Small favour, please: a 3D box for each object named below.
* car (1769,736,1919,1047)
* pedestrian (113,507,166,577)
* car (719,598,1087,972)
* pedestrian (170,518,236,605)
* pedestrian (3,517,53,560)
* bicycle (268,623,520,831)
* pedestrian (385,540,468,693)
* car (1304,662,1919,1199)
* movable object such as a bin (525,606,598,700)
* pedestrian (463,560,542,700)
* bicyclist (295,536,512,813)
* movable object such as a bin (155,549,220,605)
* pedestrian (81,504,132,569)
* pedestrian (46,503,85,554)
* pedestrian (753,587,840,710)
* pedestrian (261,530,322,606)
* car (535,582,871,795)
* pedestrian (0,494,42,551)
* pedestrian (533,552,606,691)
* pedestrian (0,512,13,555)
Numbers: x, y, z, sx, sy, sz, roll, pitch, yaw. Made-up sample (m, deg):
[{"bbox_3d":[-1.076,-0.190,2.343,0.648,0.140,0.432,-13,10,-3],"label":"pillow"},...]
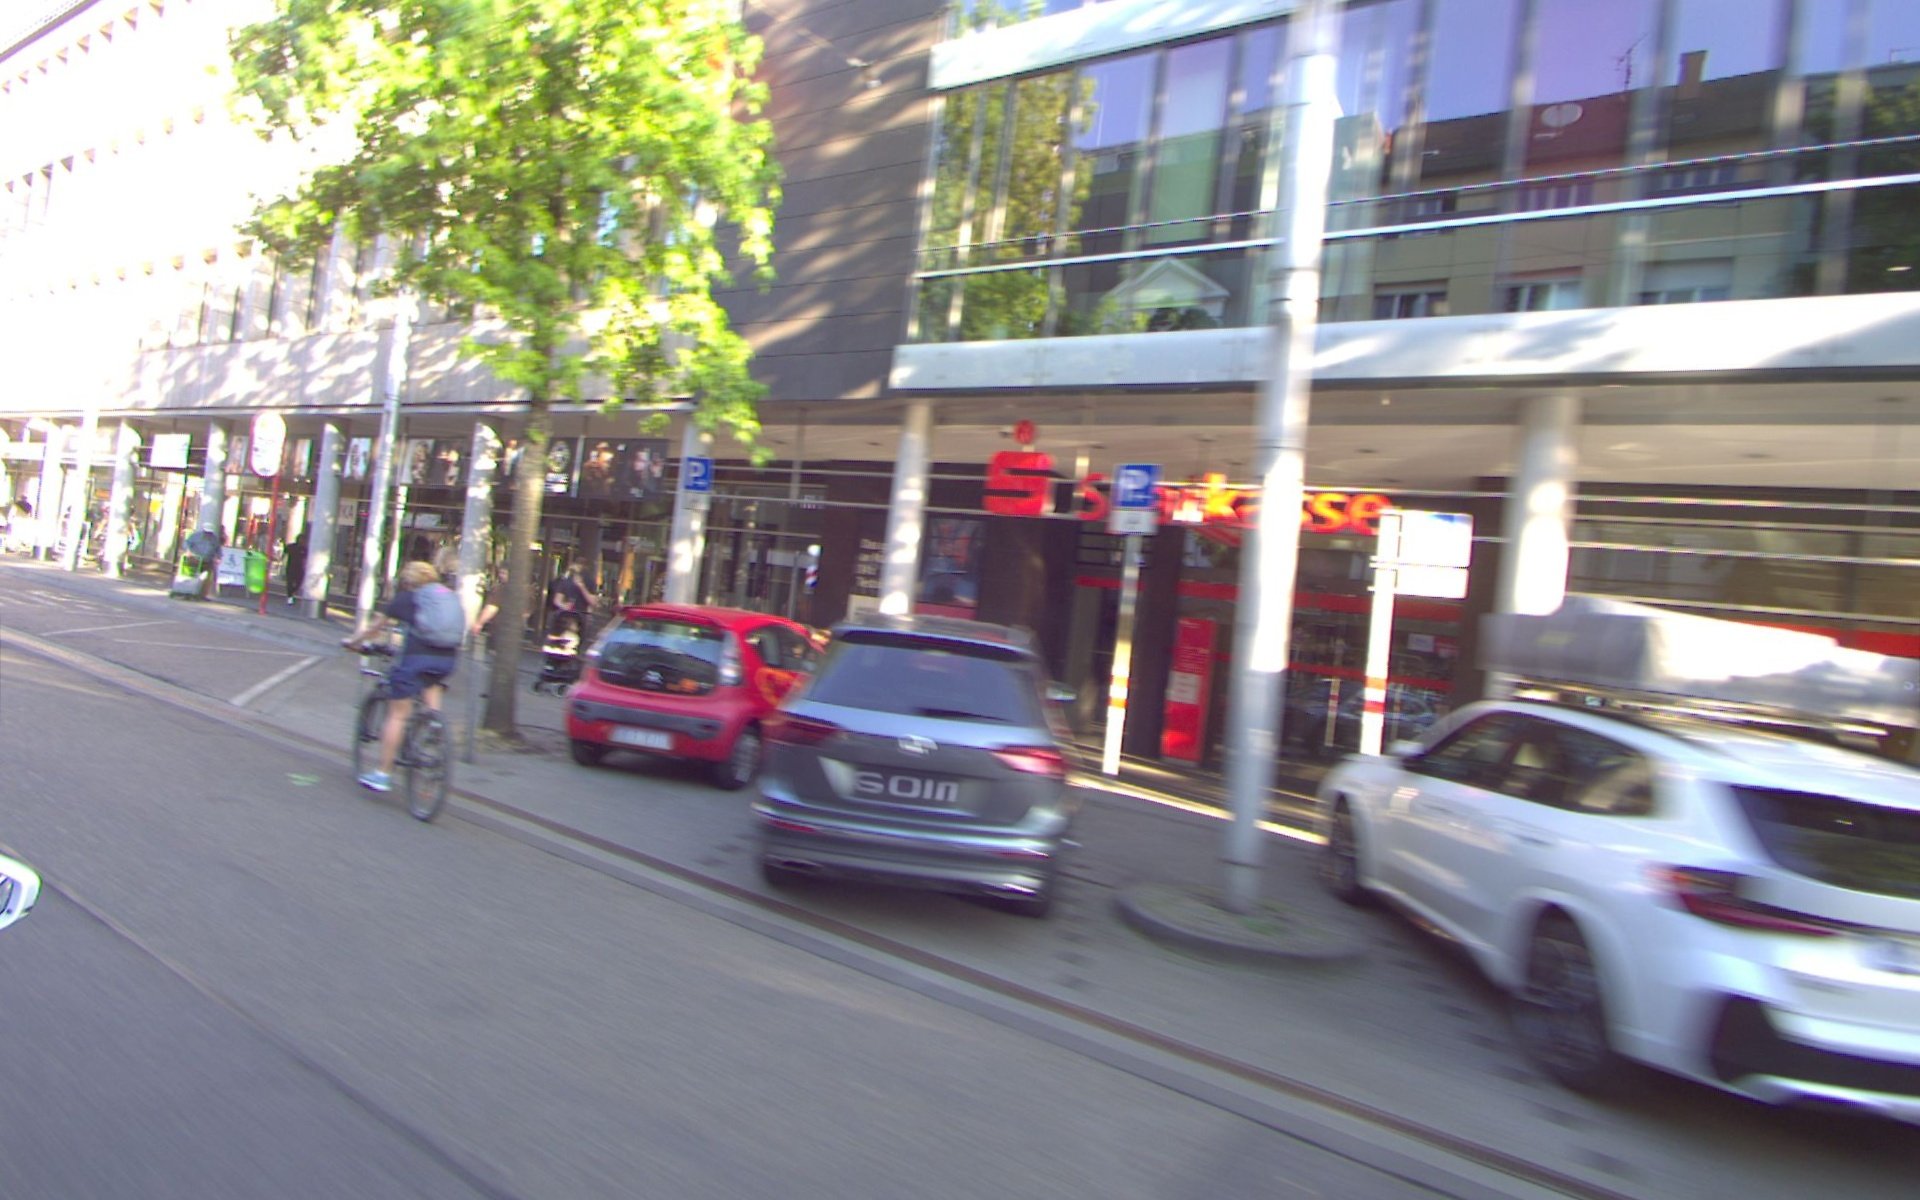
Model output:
[{"bbox_3d":[5.860,1.699,4.370,1.656,1.518,4.161,6,0,9],"label":"car"},{"bbox_3d":[-23.135,-1.641,28.377,0.844,1.813,0.745,7,-1,33],"label":"pedestrian"},{"bbox_3d":[-0.229,0.919,7.156,1.663,1.673,4.355,6,0,2],"label":"car"},{"bbox_3d":[-15.021,-0.760,19.969,0.621,1.590,0.683,7,-2,33],"label":"pedestrian"},{"bbox_3d":[-26.475,-1.750,28.579,0.685,1.042,0.836,7,-2,37],"label":"pedestrian"},{"bbox_3d":[-3.809,0.793,6.686,2.030,1.006,0.718,6,-4,42],"label":"bicycle"},{"bbox_3d":[-6.293,0.184,11.904,0.672,1.707,0.692,6,1,-24],"label":"pedestrian"},{"bbox_3d":[3.608,1.375,5.622,1.849,1.607,4.248,6,0,2],"label":"car"},{"bbox_3d":[-5.073,0.659,12.844,0.678,1.077,0.830,6,1,-15],"label":"movable object such as a bin"},{"bbox_3d":[-5.433,0.347,11.980,0.598,1.572,0.687,6,1,-14],"label":"pedestrian"},{"bbox_3d":[-3.641,0.478,6.590,0.900,1.630,0.777,6,-3,41],"label":"bicyclist"},{"bbox_3d":[-14.853,-0.436,19.350,0.706,0.934,0.691,7,-3,33],"label":"movable object such as a bin"},{"bbox_3d":[-24.855,-1.847,29.300,0.844,1.720,0.745,7,-1,33],"label":"pedestrian"},{"bbox_3d":[-29.584,-2.358,33.275,0.783,1.560,0.643,7,-1,33],"label":"pedestrian"},{"bbox_3d":[-2.568,0.774,15.825,0.833,1.805,0.781,7,-1,31],"label":"pedestrian"},{"bbox_3d":[-15.339,-0.735,23.090,0.910,1.608,0.697,7,-1,33],"label":"pedestrian"},{"bbox_3d":[-2.240,0.733,9.707,1.635,1.500,3.399,6,0,13],"label":"car"},{"bbox_3d":[-31.333,-2.594,33.537,0.821,1.761,0.716,7,-1,33],"label":"pedestrian"},{"bbox_3d":[-5.185,0.280,13.389,0.678,1.753,0.630,6,1,-16],"label":"pedestrian"},{"bbox_3d":[-27.872,-1.962,28.955,0.773,1.212,0.667,7,-1,37],"label":"pedestrian"}]
